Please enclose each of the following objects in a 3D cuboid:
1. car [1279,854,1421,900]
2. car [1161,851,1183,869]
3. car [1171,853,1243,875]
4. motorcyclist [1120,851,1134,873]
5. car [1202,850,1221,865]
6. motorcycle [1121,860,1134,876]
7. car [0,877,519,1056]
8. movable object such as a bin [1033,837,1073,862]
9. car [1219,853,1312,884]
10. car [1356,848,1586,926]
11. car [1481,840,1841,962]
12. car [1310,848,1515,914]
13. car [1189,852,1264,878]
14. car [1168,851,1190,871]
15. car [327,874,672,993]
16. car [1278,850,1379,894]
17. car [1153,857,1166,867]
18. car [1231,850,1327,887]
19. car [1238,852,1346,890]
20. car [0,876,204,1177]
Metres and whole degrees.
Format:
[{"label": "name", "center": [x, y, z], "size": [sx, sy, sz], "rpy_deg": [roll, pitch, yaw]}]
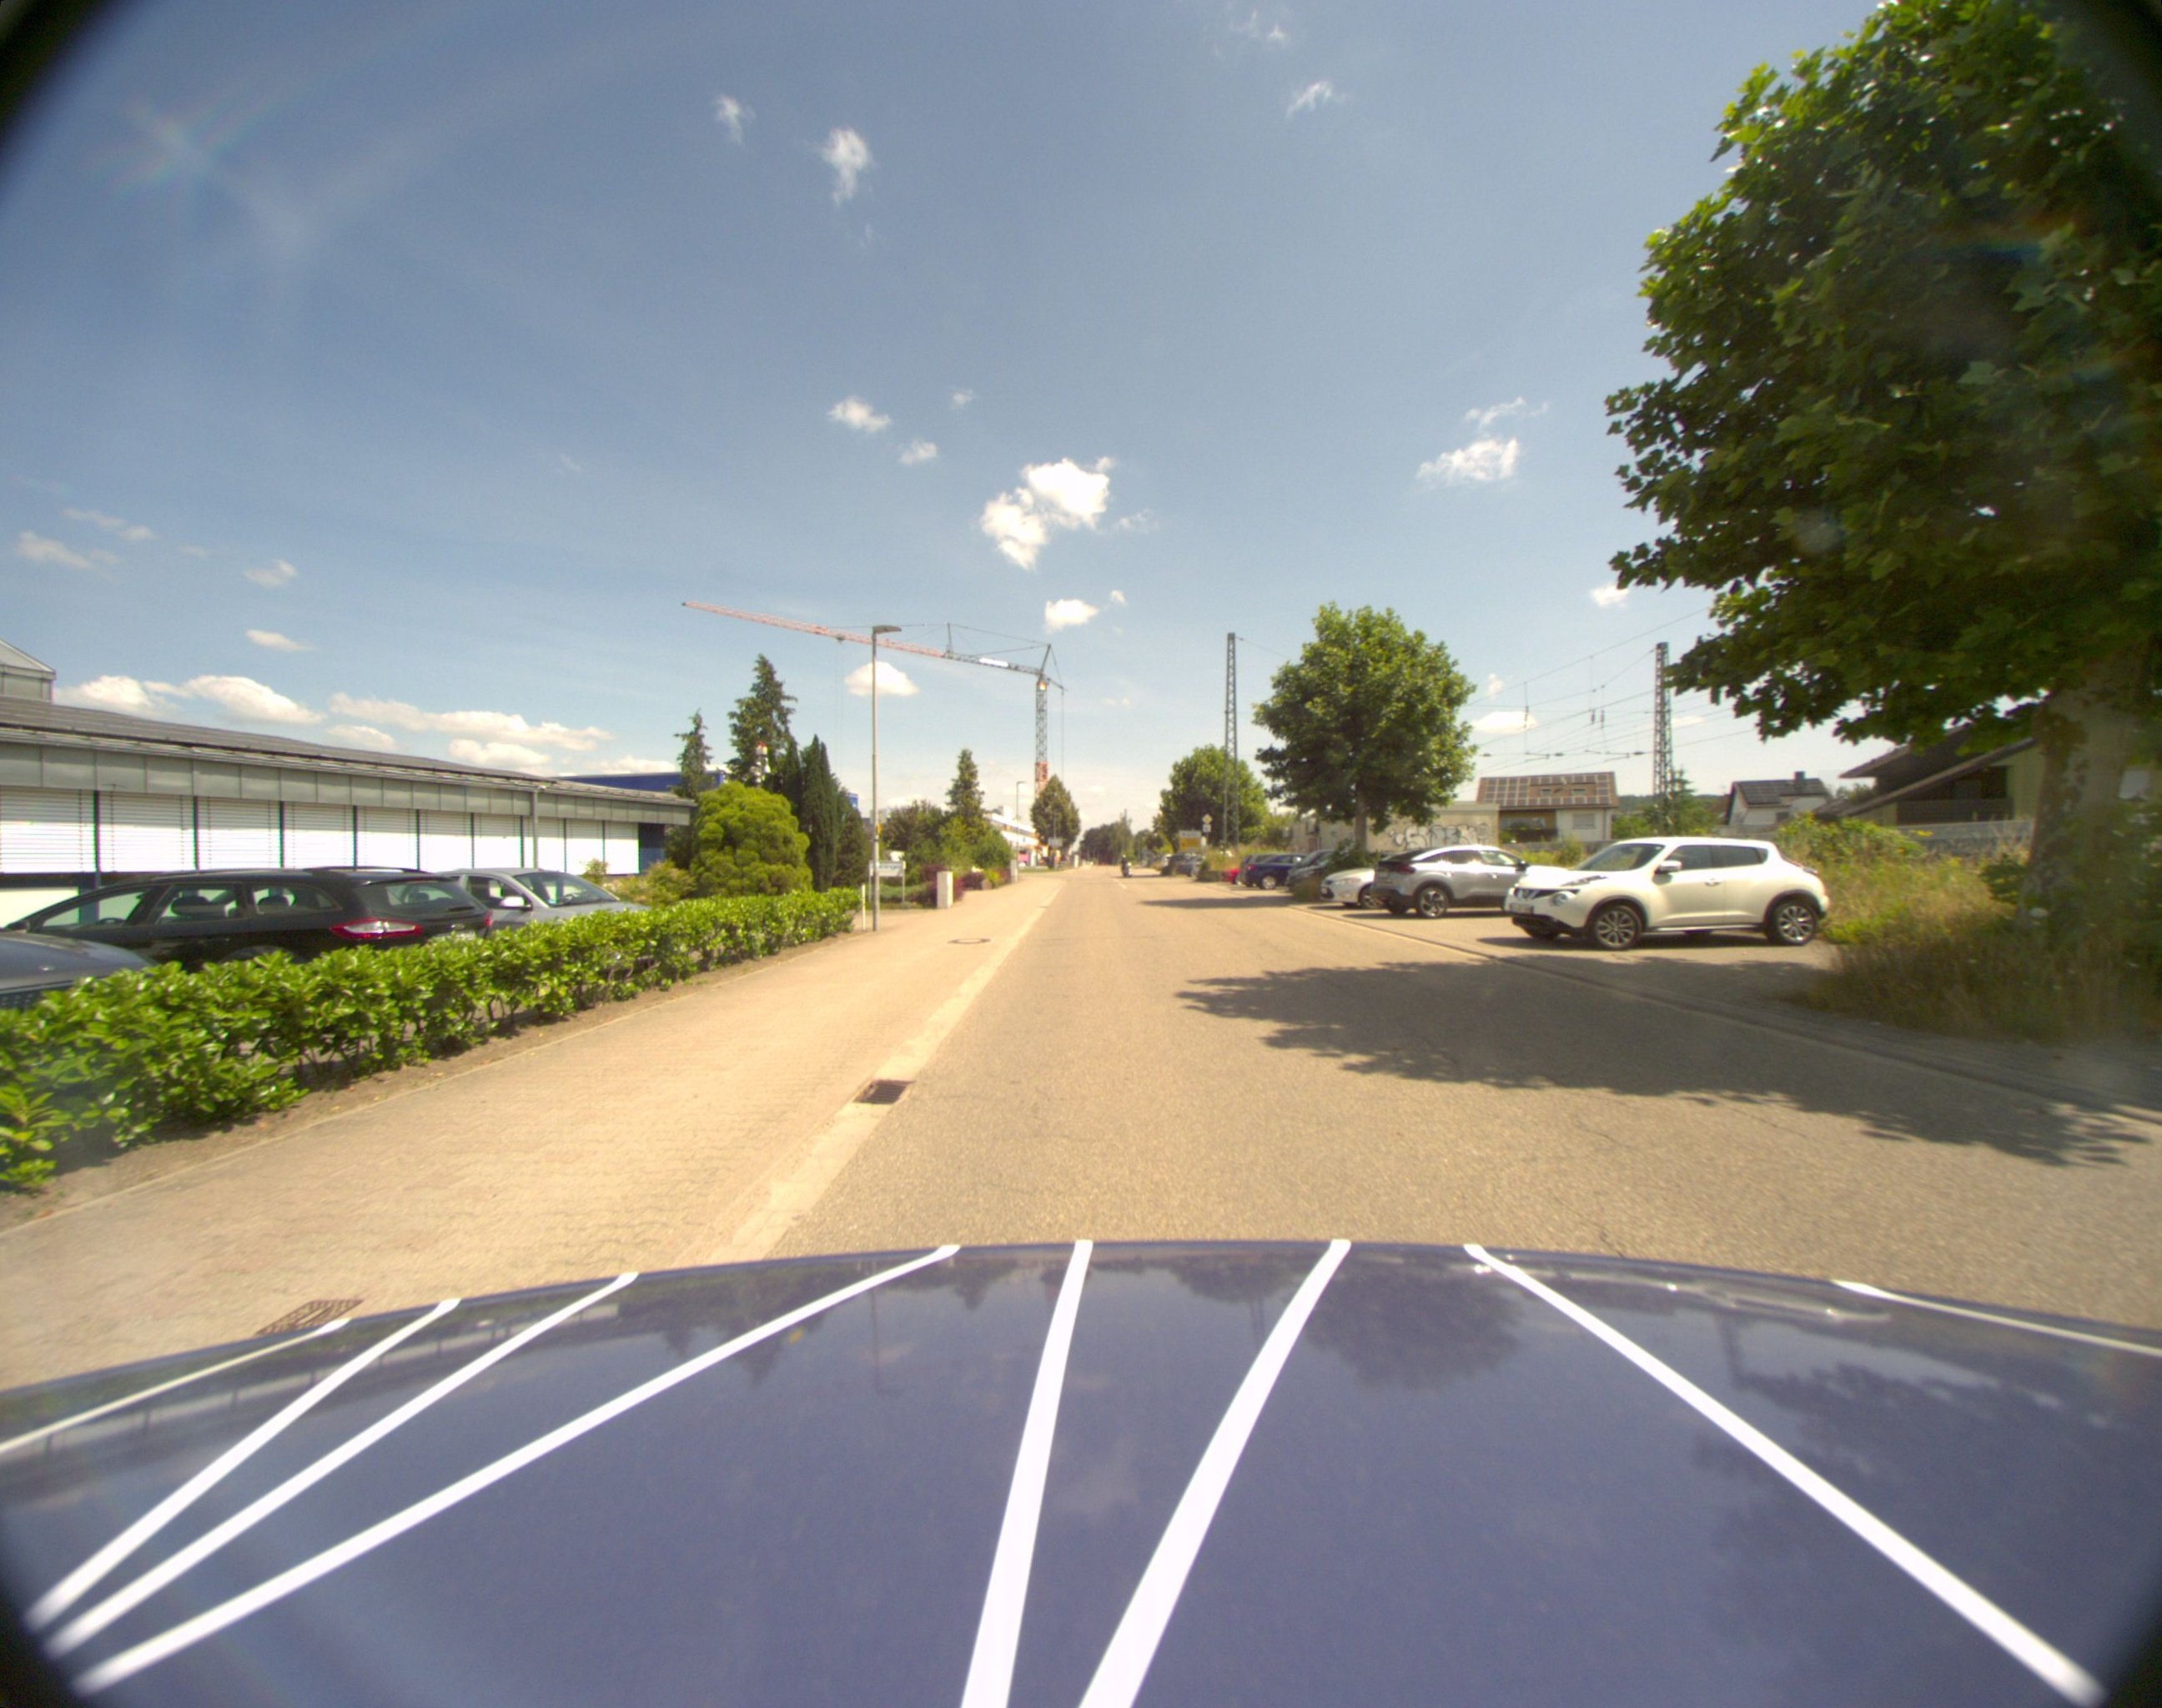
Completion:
[{"label": "car", "center": [8.783, 0.738, 25.069], "size": [4.083, 1.464, 1.787], "rpy_deg": [0, 0, 1]}, {"label": "car", "center": [8.409, 0.529, 70.278], "size": [1.807, 1.555, 4.263], "rpy_deg": [0, 0, 4]}, {"label": "car", "center": [8.261, 0.658, 50.013], "size": [4.438, 1.402, 1.787], "rpy_deg": [0, 0, -2]}, {"label": "motorcyclist", "center": [3.250, 0.557, 53.403], "size": [0.778, 1.500, 0.920], "rpy_deg": [-1, 1, -11]}, {"label": "car", "center": [15.114, 0.393, 87.933], "size": [1.952, 1.599, 4.274], "rpy_deg": [0, 0, 6]}, {"label": "motorcycle", "center": [3.270, 0.953, 53.378], "size": [0.465, 1.044, 1.953], "rpy_deg": [-1, 1, -11]}, {"label": "car", "center": [-8.501, 1.007, 7.479], "size": [4.486, 1.431, 1.814], "rpy_deg": [-1, 0, -2]}, {"label": "movable object such as a bin", "center": [-3.858, -0.661, 105.326], "size": [5.132, 3.276, 2.390], "rpy_deg": [0, 6, -16]}, {"label": "car", "center": [8.775, 0.711, 36.365], "size": [4.083, 1.360, 1.674], "rpy_deg": [-1, -1, 1]}, {"label": "car", "center": [8.405, 0.675, 16.655], "size": [3.997, 1.539, 2.000], "rpy_deg": [-1, 0, -1]}, {"label": "car", "center": [8.406, 0.641, 11.273], "size": [3.981, 1.608, 1.850], "rpy_deg": [-1, 0, -2]}, {"label": "car", "center": [8.299, 0.663, 19.329], "size": [4.349, 1.524, 1.926], "rpy_deg": [-1, 0, 1]}, {"label": "car", "center": [8.657, 0.657, 45.506], "size": [4.084, 1.394, 1.786], "rpy_deg": [-1, 0, -1]}, {"label": "car", "center": [7.764, 0.526, 60.254], "size": [1.688, 1.521, 4.065], "rpy_deg": [0, 0, 7]}, {"label": "car", "center": [-7.648, 0.989, 10.216], "size": [3.360, 1.393, 1.770], "rpy_deg": [0, 0, 5]}, {"label": "car", "center": [9.034, 0.629, 27.870], "size": [3.196, 1.529, 1.602], "rpy_deg": [0, 1, -1]}, {"label": "car", "center": [10.713, 1.026, 104.080], "size": [1.607, 1.341, 4.001], "rpy_deg": [0, 0, 3]}, {"label": "car", "center": [8.570, 0.606, 33.084], "size": [3.675, 1.439, 1.684], "rpy_deg": [-2, 0, -1]}, {"label": "car", "center": [8.397, 0.676, 30.498], "size": [3.953, 1.442, 1.787], "rpy_deg": [0, 0, 5]}, {"label": "car", "center": [-7.856, 0.949, 4.070], "size": [4.045, 1.566, 1.713], "rpy_deg": [0, 2, -4]}]
